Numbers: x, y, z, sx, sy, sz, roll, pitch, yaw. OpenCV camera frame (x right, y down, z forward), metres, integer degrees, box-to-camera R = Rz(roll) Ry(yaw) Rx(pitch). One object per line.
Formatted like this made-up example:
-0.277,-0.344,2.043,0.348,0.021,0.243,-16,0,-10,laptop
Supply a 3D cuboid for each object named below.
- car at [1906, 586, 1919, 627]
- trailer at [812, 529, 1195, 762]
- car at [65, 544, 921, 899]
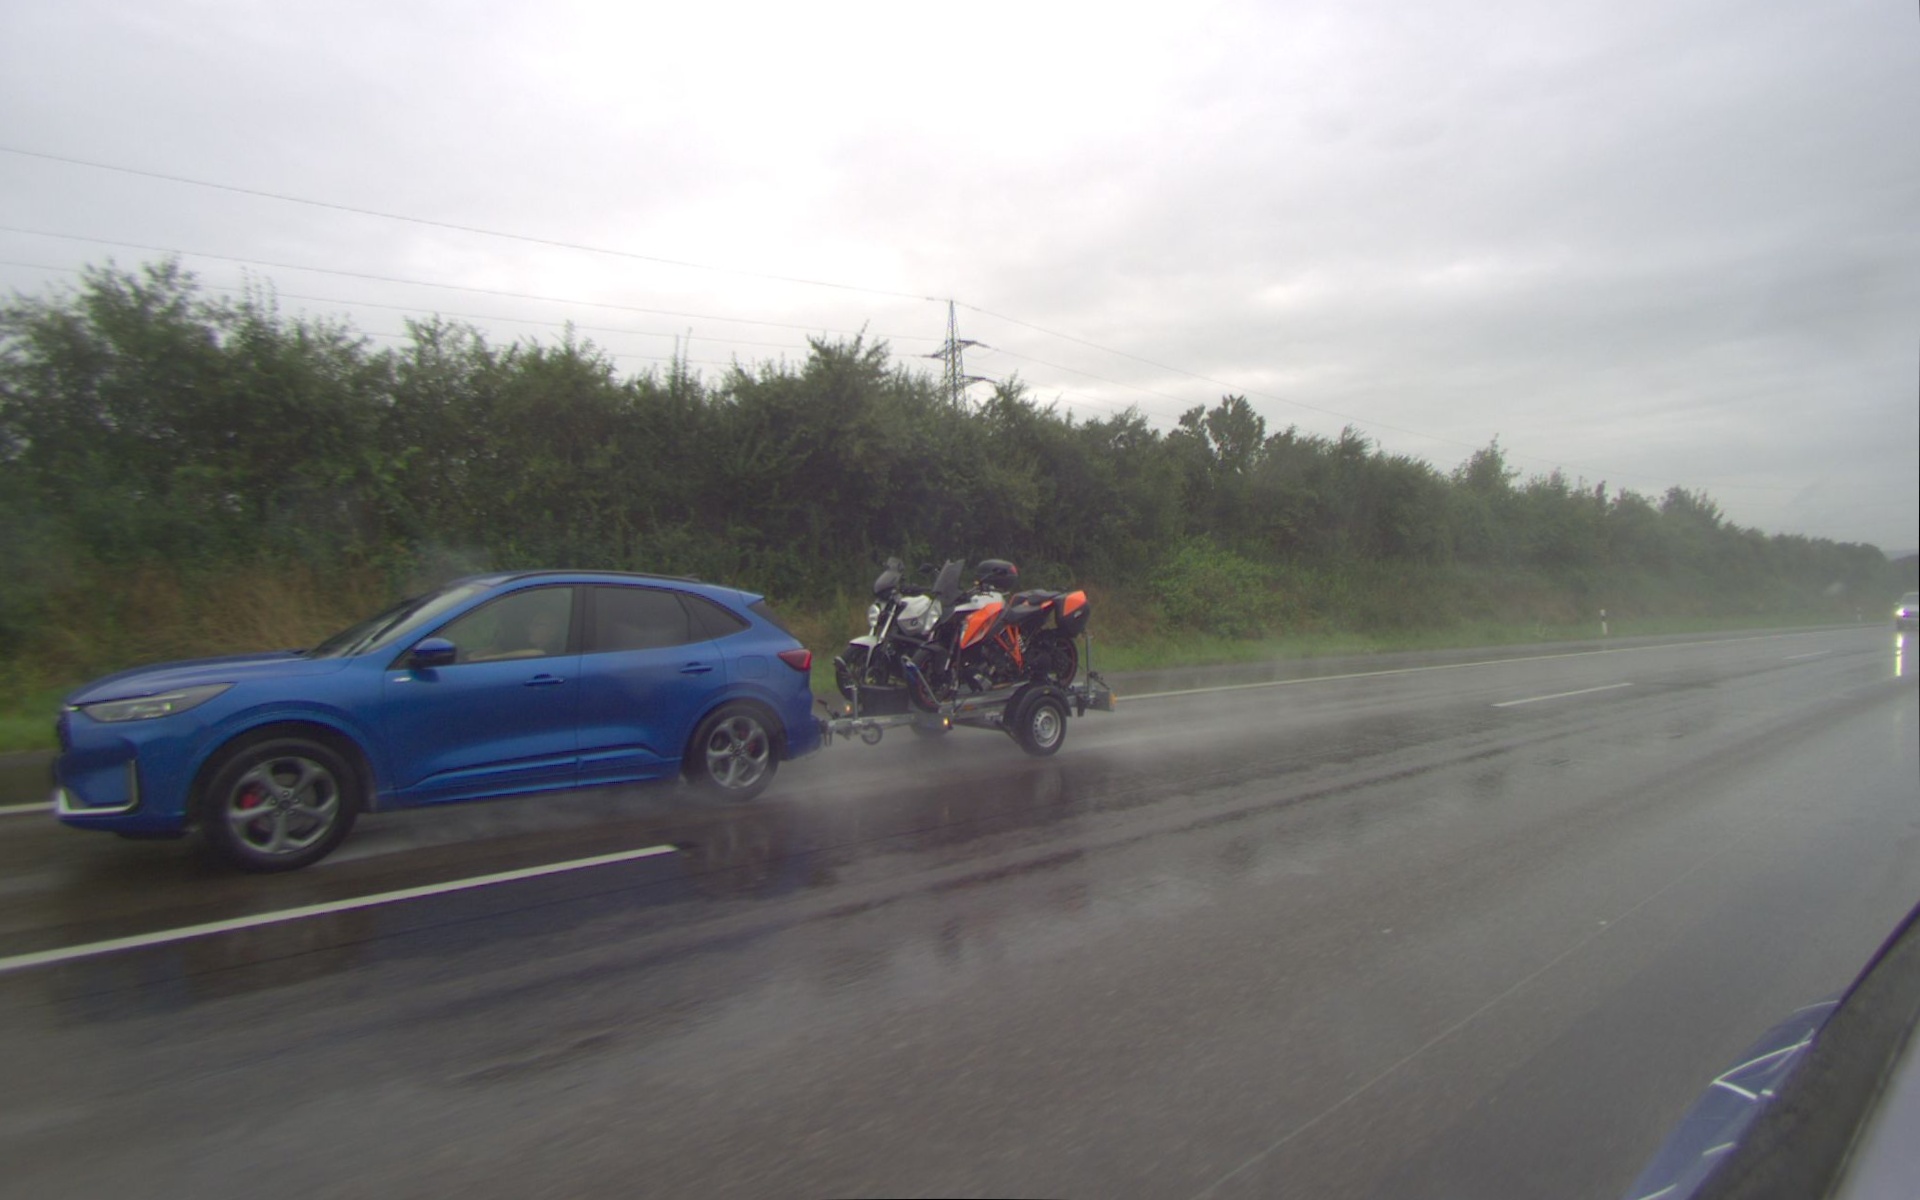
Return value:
49.454,0.328,51.157,3.930,2.039,1.996,1,-1,-41,car
0.452,0.329,9.635,3.131,1.807,1.984,-1,1,-38,trailer
-2.826,0.527,6.994,4.902,1.639,1.998,-1,1,-39,car
